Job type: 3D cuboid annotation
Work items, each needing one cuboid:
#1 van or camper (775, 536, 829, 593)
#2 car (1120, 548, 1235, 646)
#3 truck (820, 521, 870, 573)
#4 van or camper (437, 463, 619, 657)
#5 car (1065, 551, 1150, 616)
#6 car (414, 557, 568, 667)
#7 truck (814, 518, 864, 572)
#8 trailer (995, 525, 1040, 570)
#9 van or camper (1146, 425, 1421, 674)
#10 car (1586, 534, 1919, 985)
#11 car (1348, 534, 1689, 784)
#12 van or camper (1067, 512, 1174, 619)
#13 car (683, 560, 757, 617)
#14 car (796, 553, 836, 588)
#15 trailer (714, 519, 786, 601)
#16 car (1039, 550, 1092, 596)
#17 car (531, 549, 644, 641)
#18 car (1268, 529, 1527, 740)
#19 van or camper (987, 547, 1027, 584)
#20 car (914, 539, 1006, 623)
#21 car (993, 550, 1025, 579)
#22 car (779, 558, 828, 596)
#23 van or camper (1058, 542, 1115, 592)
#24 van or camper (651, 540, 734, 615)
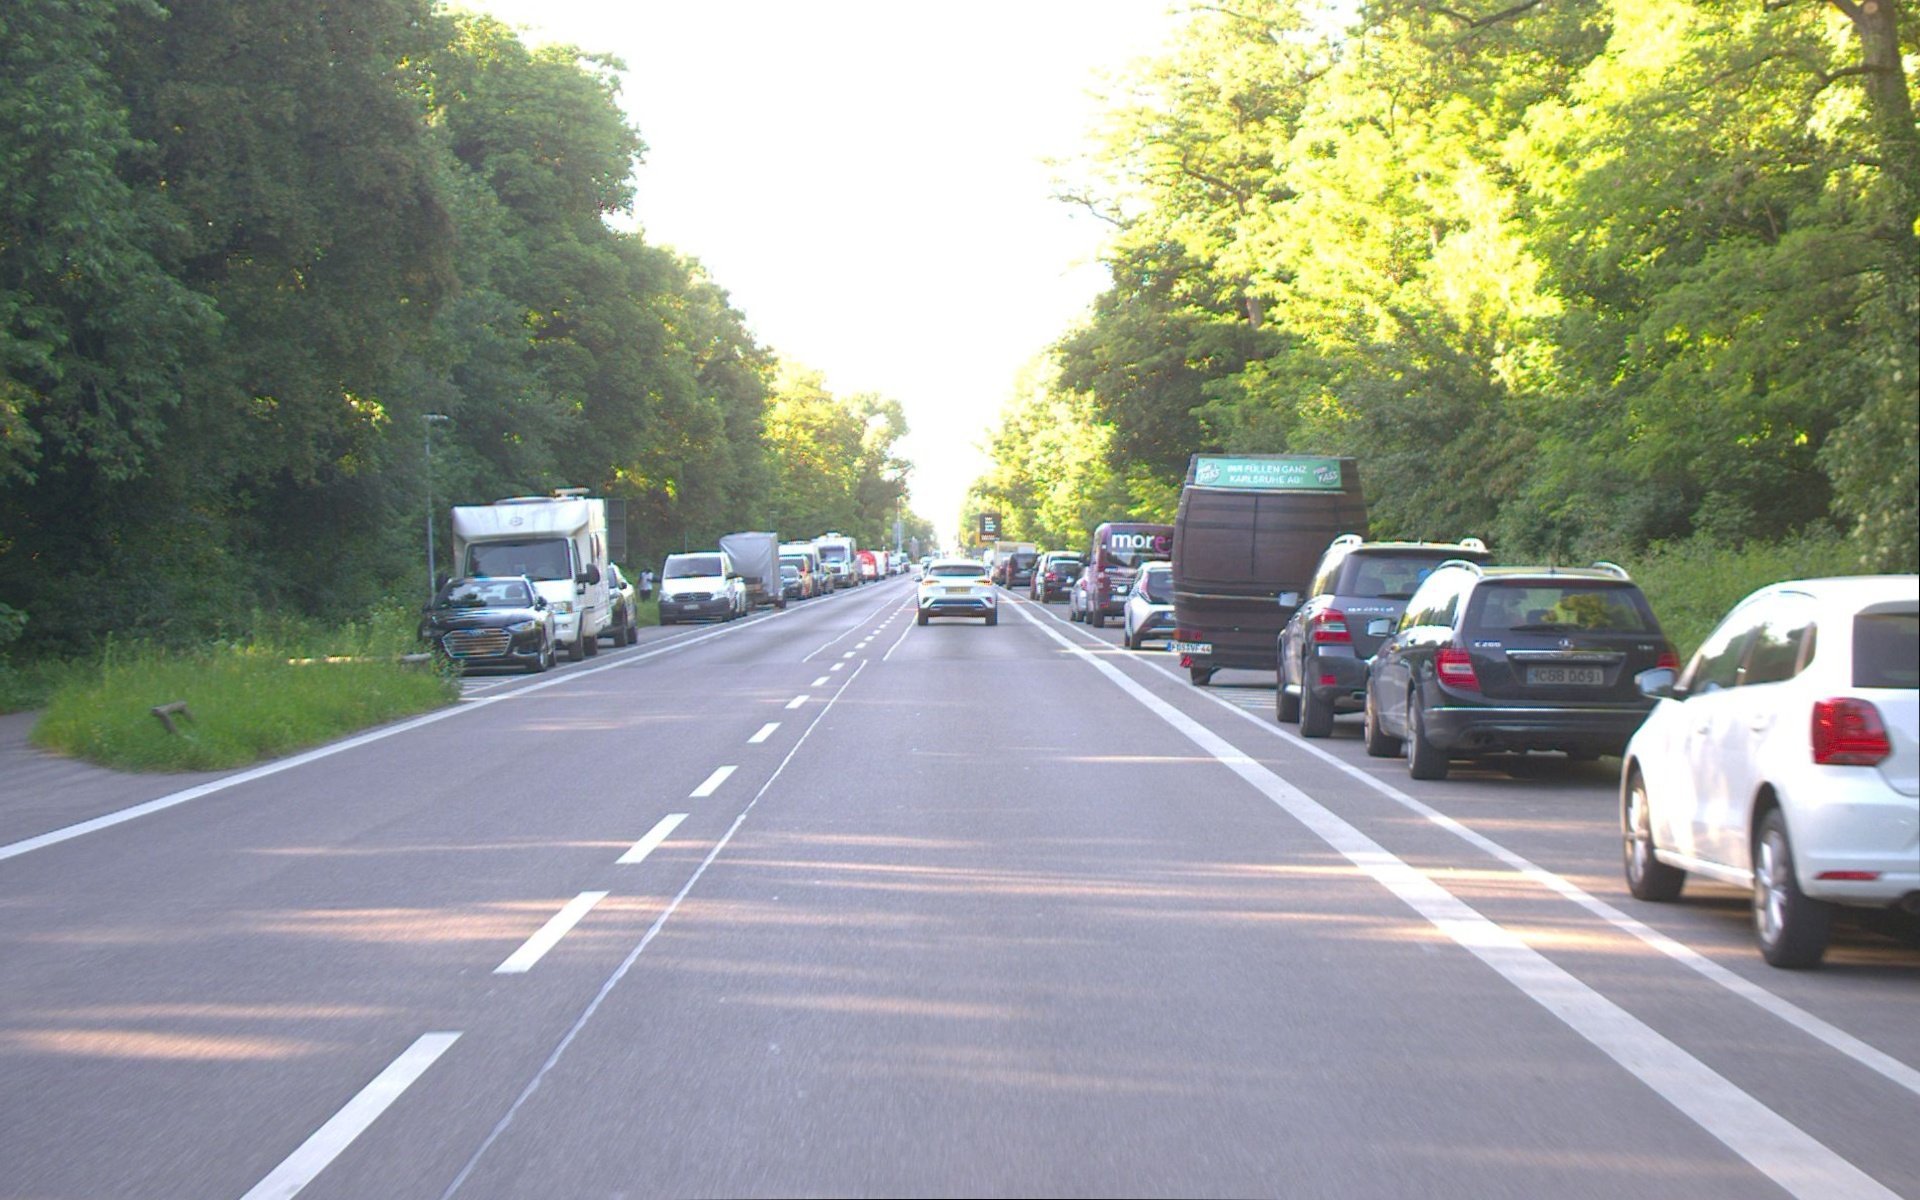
[{"bbox_3d":[-7.376,-1.661,160.915,2.121,2.563,6.542,-1,1,0],"label":"van or camper"},{"bbox_3d":[3.621,-0.072,57.769,1.712,1.540,4.022,1,1,1],"label":"car"},{"bbox_3d":[-6.923,-3.180,208.009,2.707,3.083,7.989,-1,1,0],"label":"truck"},{"bbox_3d":[-7.207,-0.682,58.153,2.314,2.960,7.112,-3,1,-2],"label":"van or camper"},{"bbox_3d":[3.652,-0.435,85.565,1.747,1.510,4.000,-2,1,-2],"label":"car"},{"bbox_3d":[-6.901,0.144,51.010,1.827,1.471,4.682,-2,1,-3],"label":"car"},{"bbox_3d":[-7.685,-3.493,219.504,2.707,3.336,10.923,-1,1,0],"label":"truck"},{"bbox_3d":[3.737,-3.398,223.892,2.757,2.860,6.589,-1,1,0],"label":"trailer"},{"bbox_3d":[4.122,-0.643,42.570,2.442,2.790,6.553,-1,1,13],"label":"van or camper"},{"bbox_3d":[3.791,0.533,13.971,1.712,1.563,4.000,1,1,0],"label":"car"},{"bbox_3d":[3.837,0.335,24.314,1.712,1.563,4.551,1,1,1],"label":"car"},{"bbox_3d":[3.641,-0.813,78.876,2.035,2.304,6.041,-2,1,-1],"label":"van or camper"},{"bbox_3d":[-6.895,-0.354,99.002,1.774,1.535,4.525,-3,1,0],"label":"car"},{"bbox_3d":[-7.172,-1.491,172.053,1.781,1.678,4.378,-1,1,0],"label":"car"},{"bbox_3d":[-7.022,-1.338,115.214,1.993,2.588,4.416,-3,1,0],"label":"trailer"},{"bbox_3d":[3.647,-0.951,119.245,1.690,1.519,4.149,1,1,0],"label":"car"},{"bbox_3d":[-7.173,-0.124,66.574,1.646,1.626,4.273,-3,1,0],"label":"car"},{"bbox_3d":[3.719,0.235,29.917,1.712,1.659,4.551,1,1,1],"label":"car"},{"bbox_3d":[2.423,-1.801,179.260,1.993,1.925,5.199,0,1,0],"label":"van or camper"},{"bbox_3d":[0.005,-0.458,79.183,2.029,1.834,4.029,-1,1,0],"label":"car"},{"bbox_3d":[2.859,-2.119,202.081,1.841,1.656,4.000,-1,1,1],"label":"car"},{"bbox_3d":[-6.451,-0.966,142.164,1.731,1.473,4.324,-3,1,0],"label":"car"},{"bbox_3d":[4.606,-1.213,125.691,1.951,1.809,4.381,0,1,0],"label":"van or camper"},{"bbox_3d":[-7.164,-0.620,92.389,1.835,1.905,4.856,-2,1,-1],"label":"van or camper"}]
